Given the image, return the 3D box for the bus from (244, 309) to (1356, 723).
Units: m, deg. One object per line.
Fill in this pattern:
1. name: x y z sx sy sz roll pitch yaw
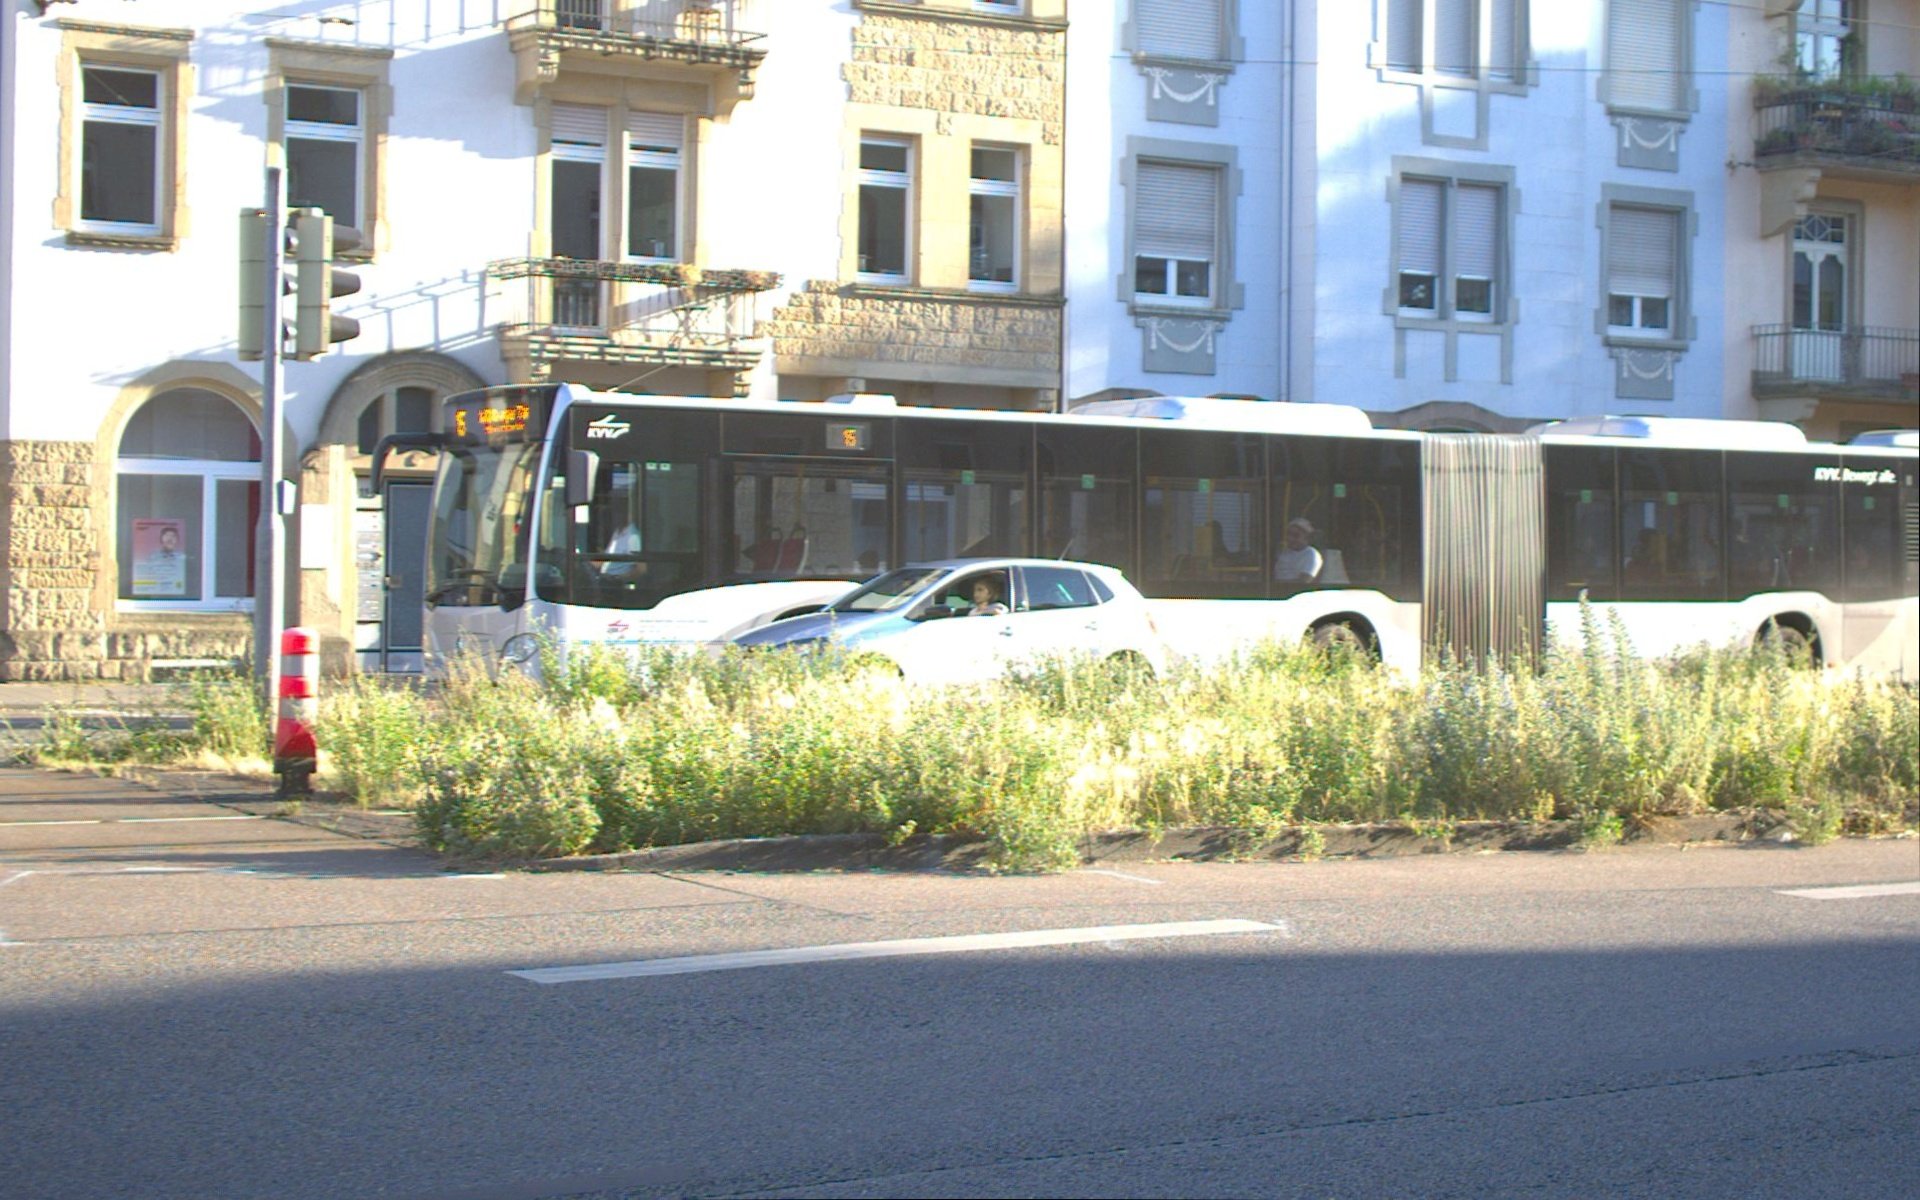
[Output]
1. bus: -1.310 -0.621 31.986 9.865 3.362 3.276 1 0 -30

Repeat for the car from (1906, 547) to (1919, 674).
1. car: 15.797 0.209 48.605 4.637 1.780 1.910 1 0 -30

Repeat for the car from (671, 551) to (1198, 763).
1. car: -0.209 0.482 29.120 3.986 1.678 1.936 1 0 -28

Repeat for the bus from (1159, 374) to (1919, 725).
1. bus: 8.078 -0.396 37.584 11.937 3.362 3.265 1 0 -31
